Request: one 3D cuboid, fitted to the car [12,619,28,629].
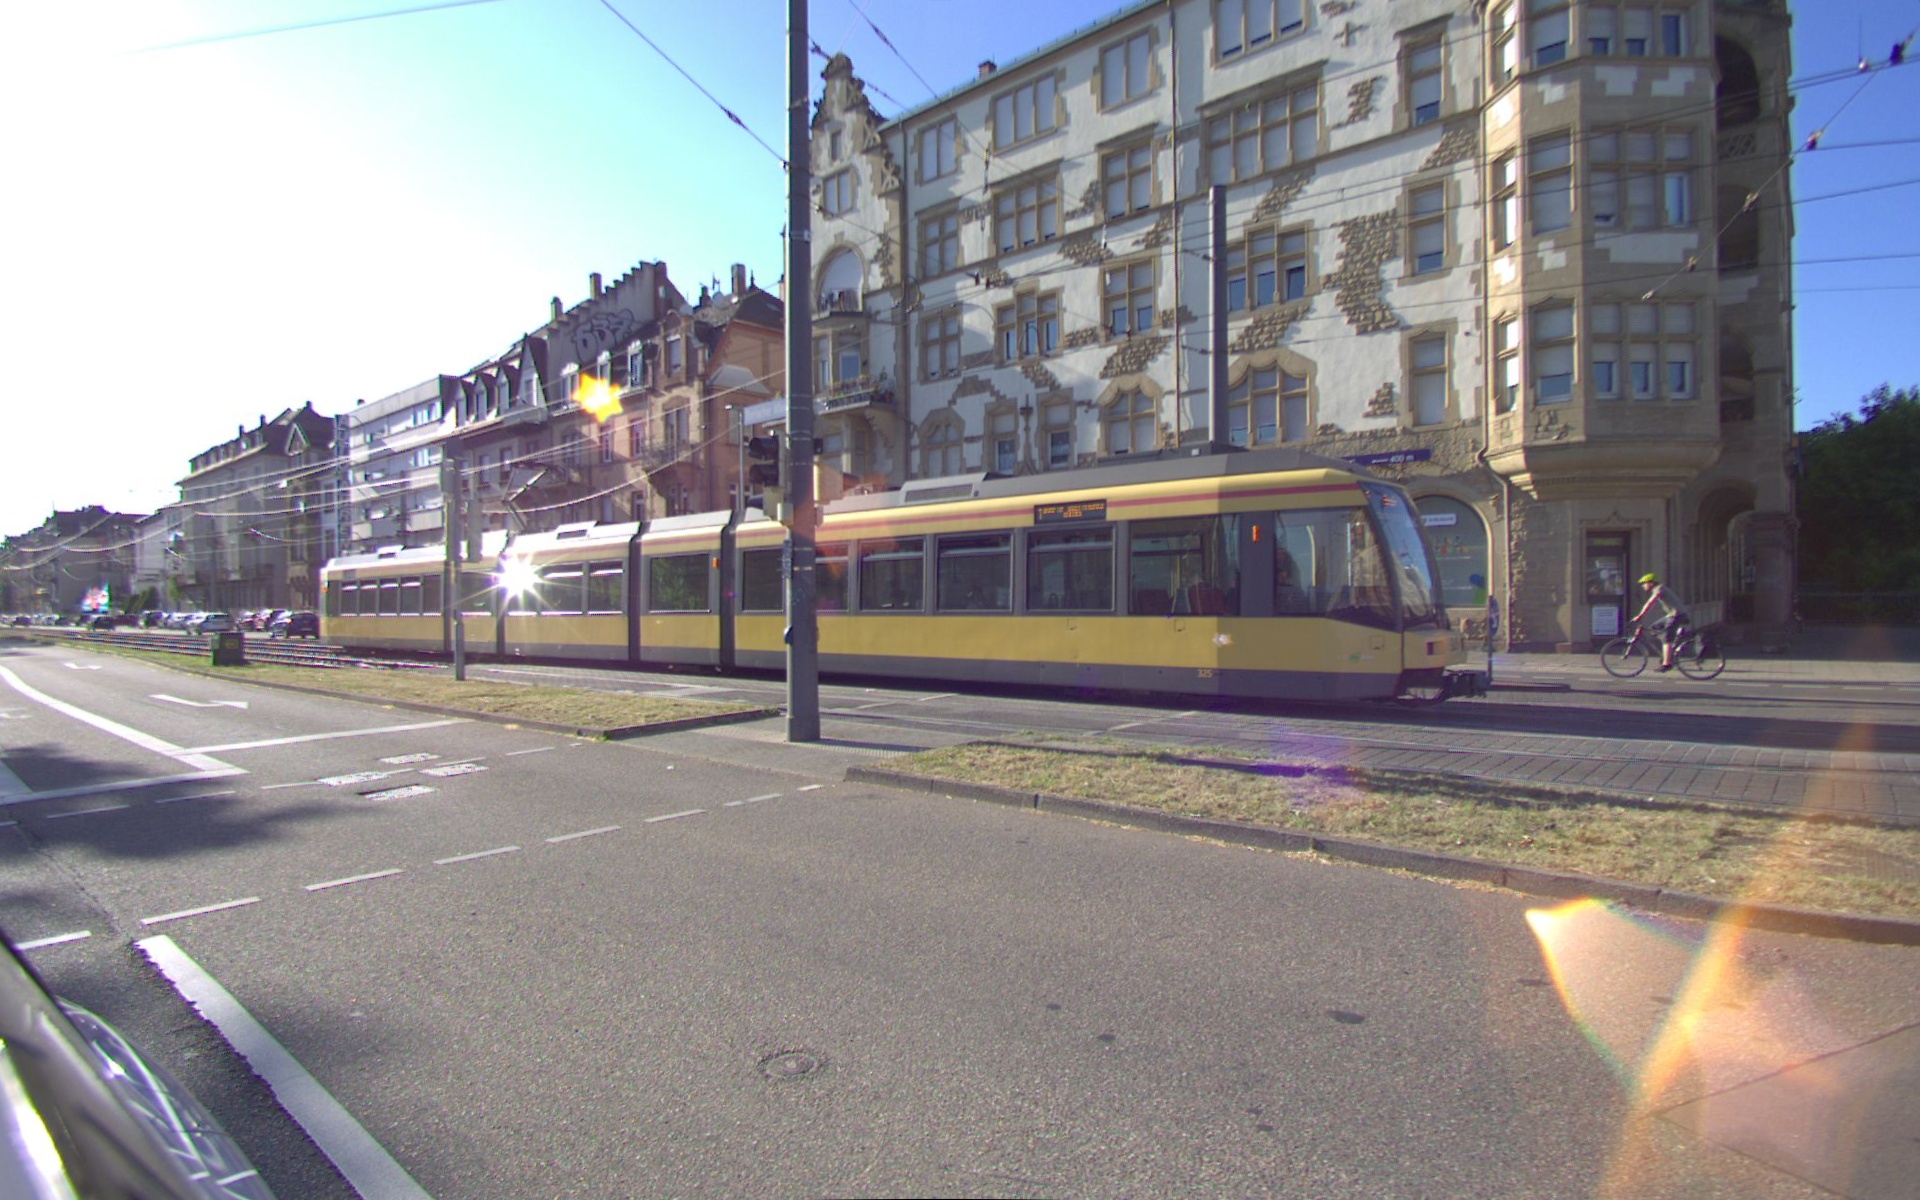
[{"bbox_3d":[-163.331,4.171,175.848,3.449,1.602,1.603,-1,1,42],"label":"car"}]

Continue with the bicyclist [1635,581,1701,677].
[{"bbox_3d":[12.289,0.491,17.570,0.839,1.627,0.577,-1,-1,43],"label":"bicyclist"}]

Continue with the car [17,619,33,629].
[{"bbox_3d":[-159.583,4.106,172.662,3.449,1.602,1.603,-1,1,42],"label":"car"}]

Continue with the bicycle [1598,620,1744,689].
[{"bbox_3d":[12.300,0.917,17.557,1.991,1.131,0.577,-1,-1,43],"label":"bicycle"}]

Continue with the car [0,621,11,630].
[{"bbox_3d":[-177.692,4.651,187.977,3.449,1.602,1.603,-1,1,42],"label":"car"}]

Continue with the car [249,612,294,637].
[{"bbox_3d":[-52.137,1.855,76.585,4.262,1.700,1.836,-1,1,43],"label":"car"}]

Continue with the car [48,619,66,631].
[{"bbox_3d":[-131.040,3.592,146.863,3.449,1.602,1.603,-1,1,42],"label":"car"}]

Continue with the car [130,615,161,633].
[{"bbox_3d":[-84.383,2.505,104.810,3.914,1.750,1.851,-1,1,42],"label":"car"}]

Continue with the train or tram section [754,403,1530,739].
[{"bbox_3d":[1.662,-0.219,15.666,12.149,3.516,2.783,-1,-1,42],"label":"train or tram section"}]

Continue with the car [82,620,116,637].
[{"bbox_3d":[-80.502,2.646,94.644,4.163,1.468,1.801,-1,-1,41],"label":"car"}]

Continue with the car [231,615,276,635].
[{"bbox_3d":[-55.906,1.971,80.044,3.722,1.507,1.736,-2,1,36],"label":"car"}]

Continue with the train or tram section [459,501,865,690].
[{"bbox_3d":[-7.820,0.010,24.231,13.199,3.516,2.783,-1,-1,42],"label":"train or tram section"}]

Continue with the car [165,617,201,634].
[{"bbox_3d":[-72.122,2.387,93.931,3.531,1.457,1.624,-1,1,35],"label":"car"}]

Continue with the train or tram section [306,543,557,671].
[{"bbox_3d":[-17.671,0.286,33.045,13.199,3.516,2.783,-1,-1,42],"label":"train or tram section"}]

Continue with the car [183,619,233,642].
[{"bbox_3d":[-49.673,2.002,66.809,4.539,1.468,1.800,-1,-1,42],"label":"car"}]

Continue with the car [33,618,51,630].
[{"bbox_3d":[-138.096,3.584,152.241,3.449,1.602,1.603,-1,1,42],"label":"car"}]

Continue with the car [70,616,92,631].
[{"bbox_3d":[-115.342,3.092,132.771,3.879,1.800,1.705,-1,1,42],"label":"car"}]

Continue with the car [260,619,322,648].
[{"bbox_3d":[-35.822,1.790,54.172,4.156,1.468,1.800,-1,-1,42],"label":"car"}]
